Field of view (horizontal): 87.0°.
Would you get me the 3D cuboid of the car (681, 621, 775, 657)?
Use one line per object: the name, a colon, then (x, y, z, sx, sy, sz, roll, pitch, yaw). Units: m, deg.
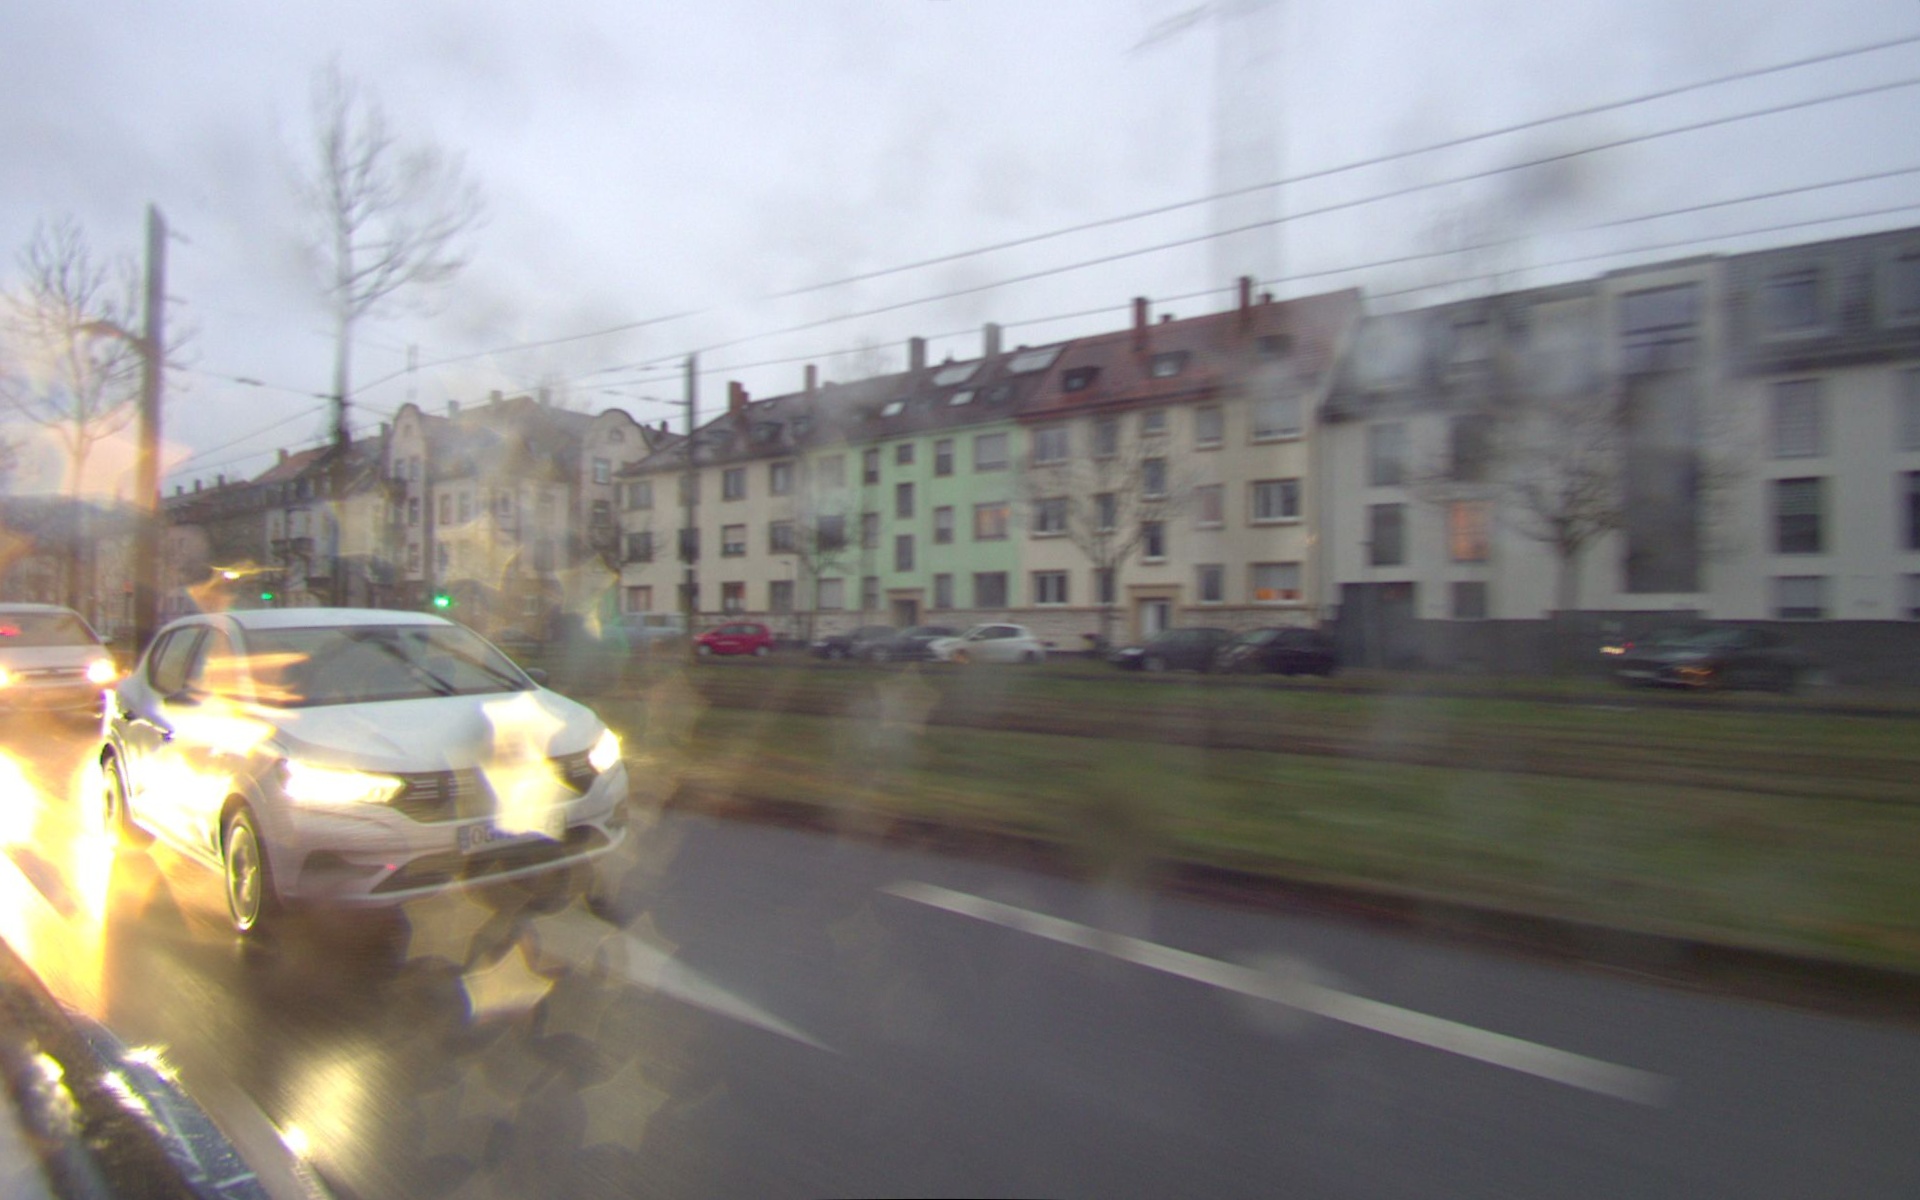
car: (-9.548, 1.581, 41.677, 3.518, 1.319, 1.692, -1, 0, -22)

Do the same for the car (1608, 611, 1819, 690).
car: (16.707, 1.069, 22.456, 4.091, 1.552, 1.675, -1, 0, -18)

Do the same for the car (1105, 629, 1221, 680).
car: (6.022, 1.597, 30.163, 2.887, 1.346, 1.742, -1, 0, -15)

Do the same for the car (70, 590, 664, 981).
car: (-3.581, 0.727, 5.797, 3.997, 1.485, 1.671, -1, 0, 40)

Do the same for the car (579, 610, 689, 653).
car: (-14.642, 1.361, 45.493, 4.578, 1.736, 1.839, -1, 0, -21)

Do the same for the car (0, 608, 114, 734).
car: (-13.083, 0.898, 13.849, 3.904, 1.531, 1.618, -1, 0, 40)

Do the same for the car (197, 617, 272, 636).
car: (-54.737, 1.966, 76.406, 4.194, 1.267, 1.838, -1, 0, -14)

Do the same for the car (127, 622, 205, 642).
car: (-62.976, 2.542, 80.342, 4.584, 1.442, 1.699, -1, 0, -18)

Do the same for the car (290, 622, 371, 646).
car: (-40.149, 2.155, 64.648, 4.036, 1.169, 1.717, -3, 2, -15)

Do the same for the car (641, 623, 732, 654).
car: (-11.652, 1.621, 43.077, 3.510, 1.149, 1.742, -1, 0, -22)

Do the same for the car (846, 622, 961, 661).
car: (-2.028, 1.453, 35.683, 3.758, 1.181, 1.742, -1, 0, -13)

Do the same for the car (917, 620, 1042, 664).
car: (0.651, 1.382, 34.002, 3.777, 1.255, 1.743, -1, 0, -24)

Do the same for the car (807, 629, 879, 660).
car: (-4.361, 1.633, 37.627, 2.351, 1.056, 1.441, -1, -1, -22)

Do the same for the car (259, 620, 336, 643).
car: (-43.287, 2.053, 66.184, 3.975, 1.239, 1.353, -3, 2, -18)

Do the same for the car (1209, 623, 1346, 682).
car: (8.824, 1.423, 28.149, 3.326, 1.432, 1.675, -1, 0, -24)
